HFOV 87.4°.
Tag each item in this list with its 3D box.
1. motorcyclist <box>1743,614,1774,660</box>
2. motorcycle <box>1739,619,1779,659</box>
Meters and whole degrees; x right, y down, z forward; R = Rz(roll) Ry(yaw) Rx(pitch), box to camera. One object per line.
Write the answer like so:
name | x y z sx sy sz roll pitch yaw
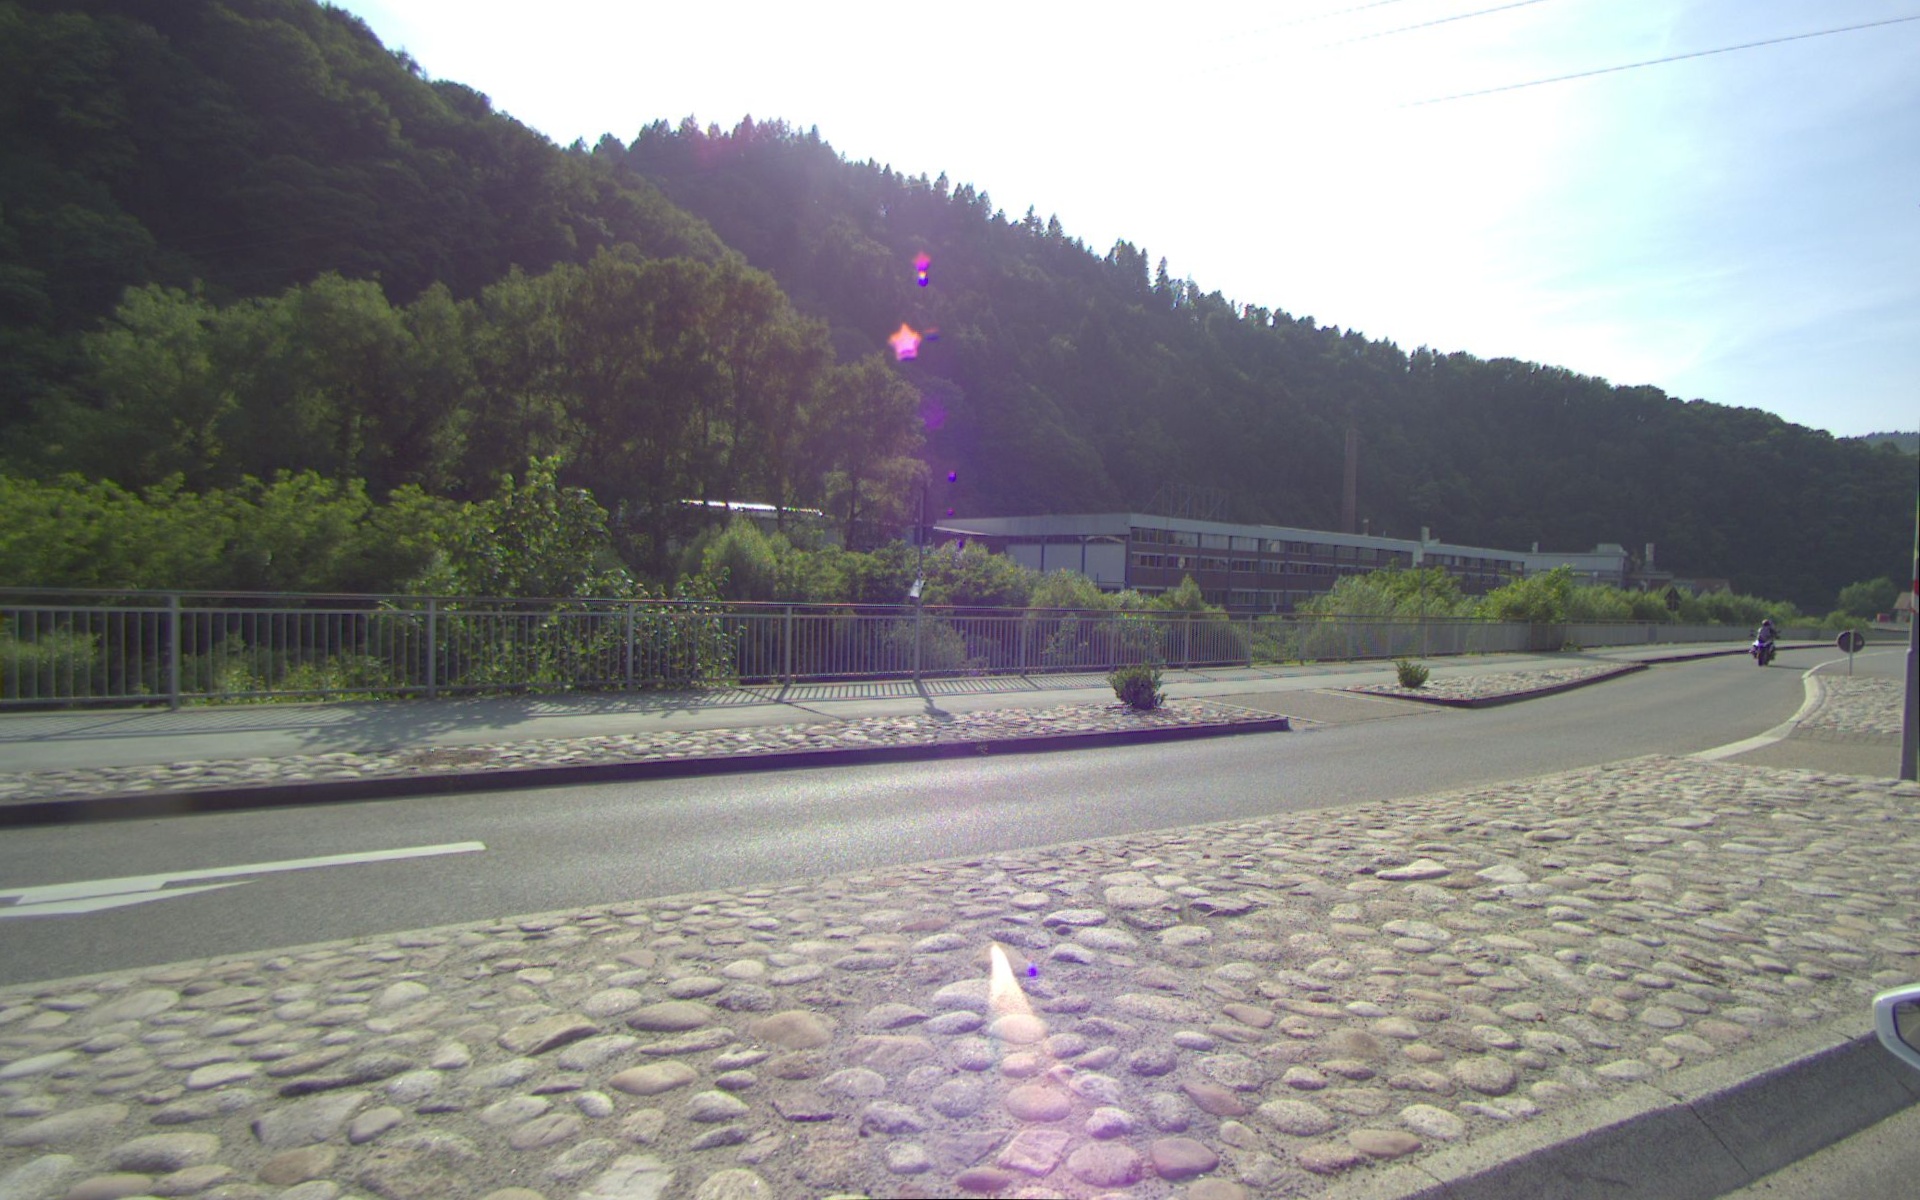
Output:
motorcyclist | 29.977 1.386 37.720 0.721 1.700 0.756 3 -1 -40
motorcycle | 30.057 1.476 37.763 2.301 1.441 0.766 2 0 -42
